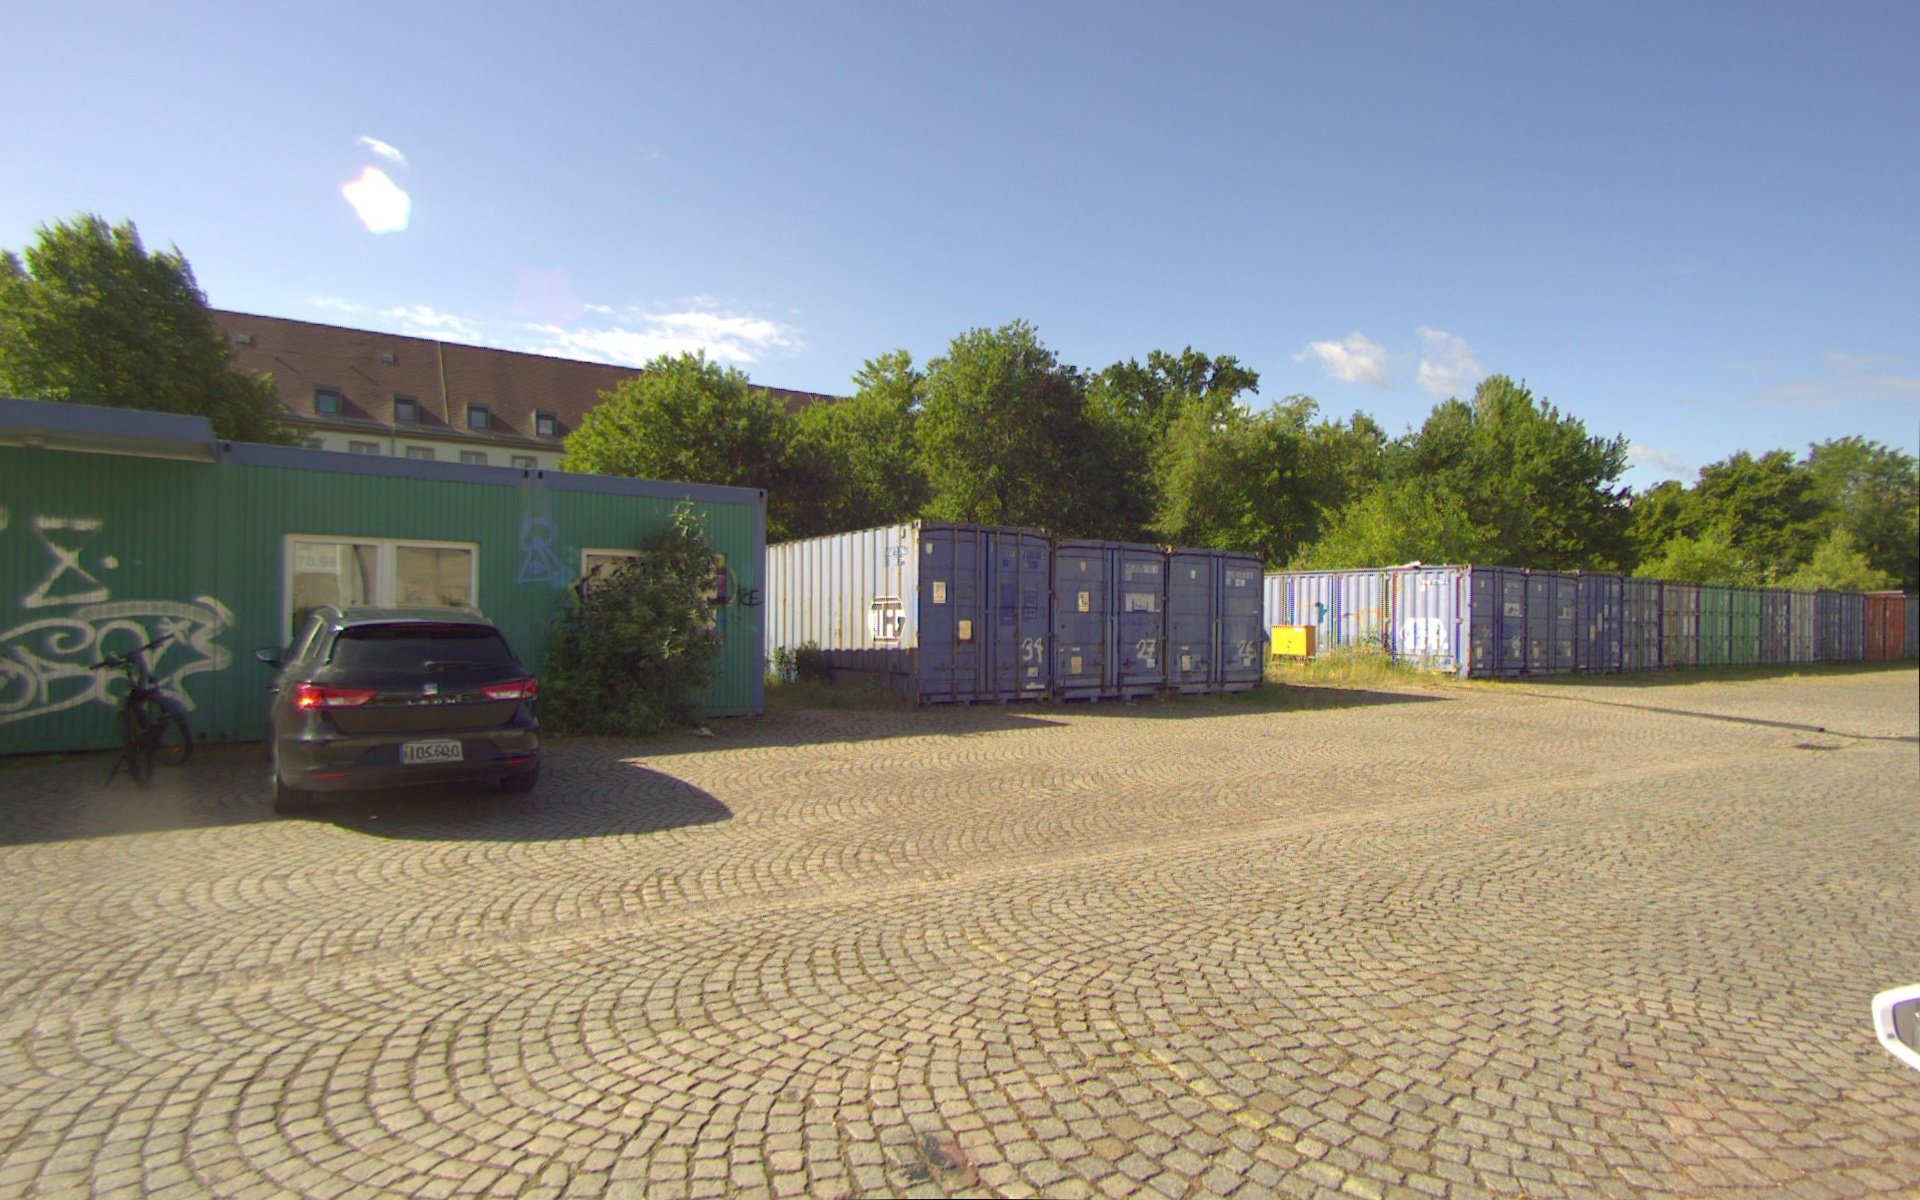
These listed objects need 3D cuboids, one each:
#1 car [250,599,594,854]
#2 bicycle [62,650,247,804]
[{"bbox_3d":[-4.665,0.765,8.347,1.980,1.484,4.385,1,0,-35],"label":"car"},{"bbox_3d":[-6.541,0.965,8.281,1.028,1.041,1.863,1,-1,-34],"label":"bicycle"}]
